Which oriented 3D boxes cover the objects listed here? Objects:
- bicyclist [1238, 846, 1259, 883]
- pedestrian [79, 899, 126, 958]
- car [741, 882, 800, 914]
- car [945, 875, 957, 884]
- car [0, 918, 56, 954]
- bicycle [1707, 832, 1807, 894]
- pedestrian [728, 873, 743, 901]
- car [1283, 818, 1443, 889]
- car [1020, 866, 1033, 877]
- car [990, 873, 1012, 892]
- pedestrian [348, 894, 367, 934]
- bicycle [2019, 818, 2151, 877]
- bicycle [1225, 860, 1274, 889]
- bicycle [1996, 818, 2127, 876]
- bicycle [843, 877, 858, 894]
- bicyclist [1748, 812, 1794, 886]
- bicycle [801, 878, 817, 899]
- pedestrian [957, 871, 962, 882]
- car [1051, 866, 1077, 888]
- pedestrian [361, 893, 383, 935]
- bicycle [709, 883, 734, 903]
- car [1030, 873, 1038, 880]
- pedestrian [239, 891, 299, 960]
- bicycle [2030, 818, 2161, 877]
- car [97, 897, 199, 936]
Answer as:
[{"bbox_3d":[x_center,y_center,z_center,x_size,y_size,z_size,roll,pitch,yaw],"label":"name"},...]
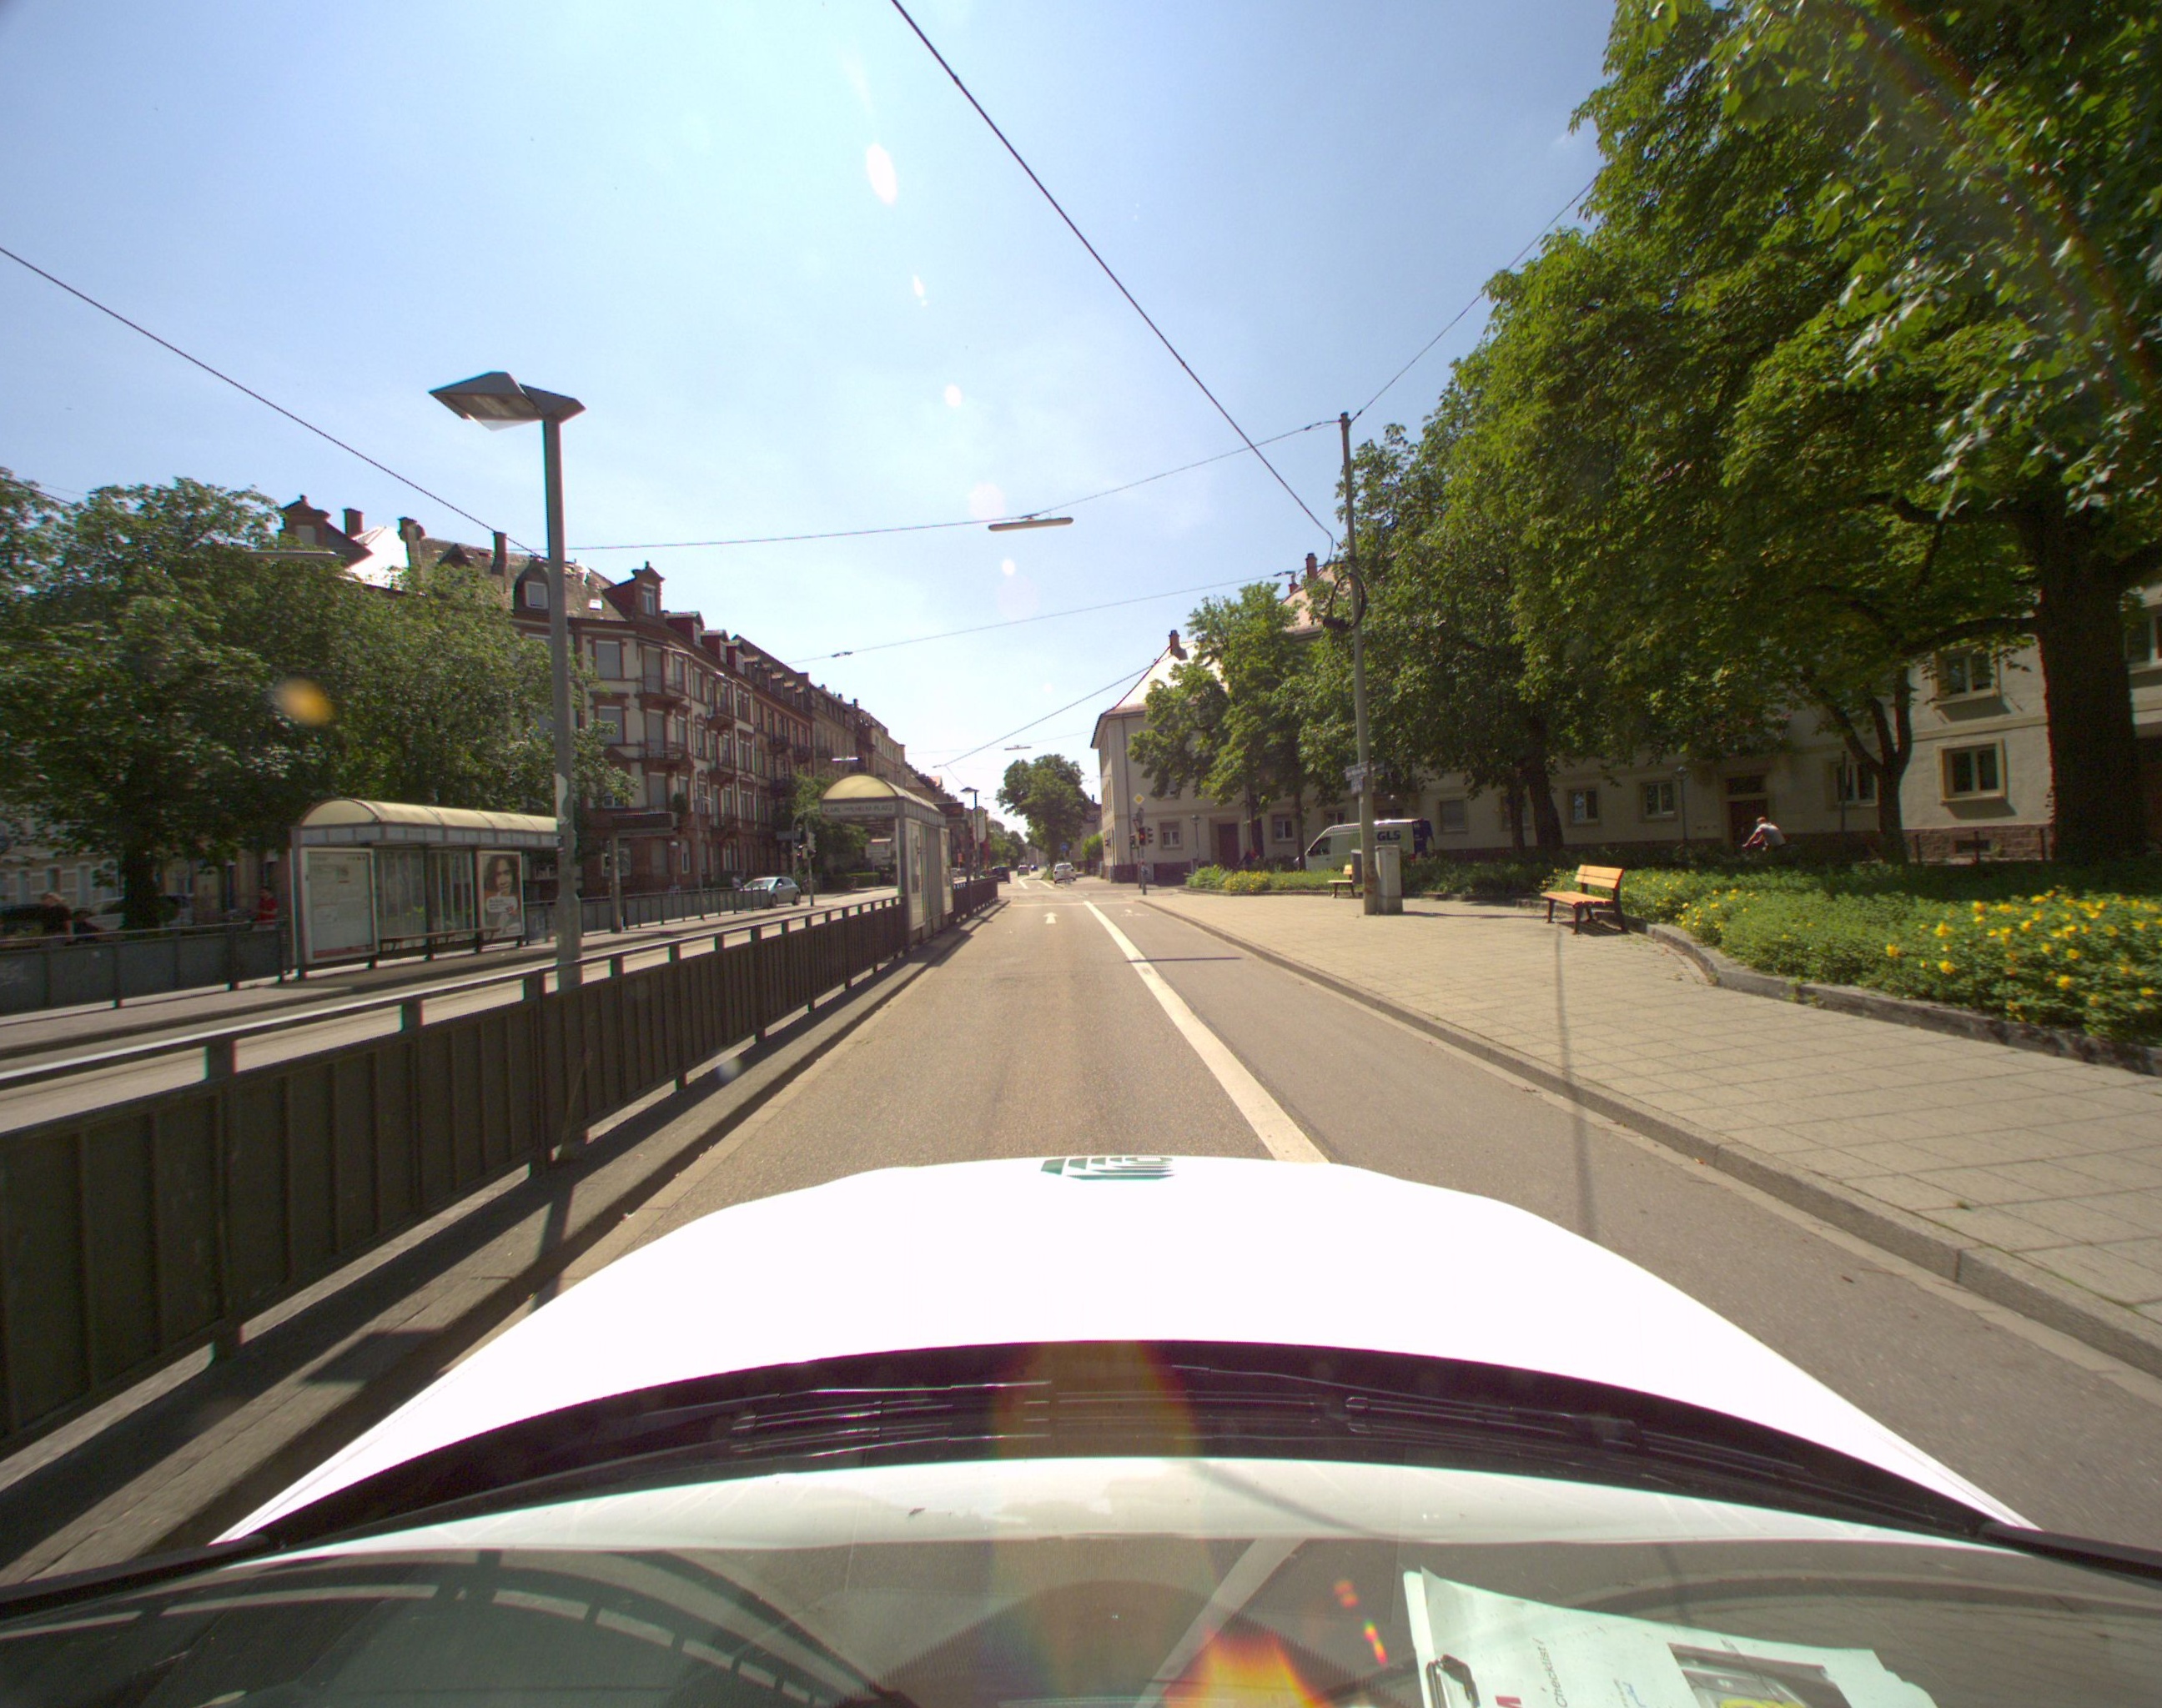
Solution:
[{"bbox_3d":[7.658,0.476,37.200,0.687,1.646,0.584,-3,-2,31],"label":"bicyclist"},{"bbox_3d":[-22.560,1.703,18.787,0.622,1.287,0.638,-1,-2,-43],"label":"pedestrian"},{"bbox_3d":[-14.589,2.030,38.444,1.538,1.339,3.713,-2,-2,-4],"label":"car"},{"bbox_3d":[-22.441,4.384,140.756,1.682,1.472,3.931,-6,-1,-5],"label":"car"},{"bbox_3d":[-48.595,3.718,36.977,3.697,1.442,1.549,-3,-2,22],"label":"car"},{"bbox_3d":[17.194,0.235,20.788,0.590,1.485,2.165,-2,-1,-4],"label":"bicycle"},{"bbox_3d":[-20.305,1.916,47.883,0.657,1.615,0.464,-1,0,-45],"label":"pedestrian"},{"bbox_3d":[11.277,0.037,33.013,2.011,2.590,5.779,-2,-1,-42],"label":"car"},{"bbox_3d":[-7.806,2.486,117.715,1.743,1.473,3.933,-3,-1,-3],"label":"car"},{"bbox_3d":[-6.754,2.369,68.977,1.521,1.444,3.361,-4,-1,-2],"label":"car"},{"bbox_3d":[-32.521,2.699,36.616,0.509,1.768,0.525,-1,-2,-25],"label":"pedestrian"},{"bbox_3d":[24.771,-0.156,20.121,2.223,1.347,0.516,-2,-2,9],"label":"bicycle"},{"bbox_3d":[7.697,0.925,37.184,2.060,1.236,0.584,-3,-2,30],"label":"bicycle"},{"bbox_3d":[24.925,-0.168,20.730,2.307,1.344,0.516,-2,-2,9],"label":"bicycle"},{"bbox_3d":[-18.607,2.530,65.659,0.595,1.356,2.417,-1,-2,-29],"label":"bicycle"},{"bbox_3d":[17.211,-0.127,20.331,0.600,1.800,0.533,-2,-2,-4],"label":"bicyclist"},{"bbox_3d":[-18.890,2.421,56.568,0.618,1.395,2.286,-1,-2,-29],"label":"bicycle"},{"bbox_3d":[-19.300,3.631,129.132,0.676,1.728,0.676,-2,-2,-3],"label":"pedestrian"},{"bbox_3d":[-1.368,1.766,63.646,1.743,1.472,3.933,-6,-1,-3],"label":"car"},{"bbox_3d":[-31.728,2.675,36.465,0.565,1.825,0.630,-1,-2,-25],"label":"pedestrian"},{"bbox_3d":[-21.970,2.378,49.754,0.360,1.169,1.528,-2,0,26],"label":"bicycle"},{"bbox_3d":[-11.547,5.472,198.925,1.626,1.472,3.557,-6,-1,-5],"label":"car"},{"bbox_3d":[-19.725,1.721,19.794,0.679,1.605,0.771,-2,-2,-6],"label":"pedestrian"},{"bbox_3d":[24.387,-0.144,19.585,2.139,1.300,0.548,-2,-2,9],"label":"bicycle"},{"bbox_3d":[-37.744,2.527,32.941,3.697,1.442,1.549,-3,-2,22],"label":"car"}]
